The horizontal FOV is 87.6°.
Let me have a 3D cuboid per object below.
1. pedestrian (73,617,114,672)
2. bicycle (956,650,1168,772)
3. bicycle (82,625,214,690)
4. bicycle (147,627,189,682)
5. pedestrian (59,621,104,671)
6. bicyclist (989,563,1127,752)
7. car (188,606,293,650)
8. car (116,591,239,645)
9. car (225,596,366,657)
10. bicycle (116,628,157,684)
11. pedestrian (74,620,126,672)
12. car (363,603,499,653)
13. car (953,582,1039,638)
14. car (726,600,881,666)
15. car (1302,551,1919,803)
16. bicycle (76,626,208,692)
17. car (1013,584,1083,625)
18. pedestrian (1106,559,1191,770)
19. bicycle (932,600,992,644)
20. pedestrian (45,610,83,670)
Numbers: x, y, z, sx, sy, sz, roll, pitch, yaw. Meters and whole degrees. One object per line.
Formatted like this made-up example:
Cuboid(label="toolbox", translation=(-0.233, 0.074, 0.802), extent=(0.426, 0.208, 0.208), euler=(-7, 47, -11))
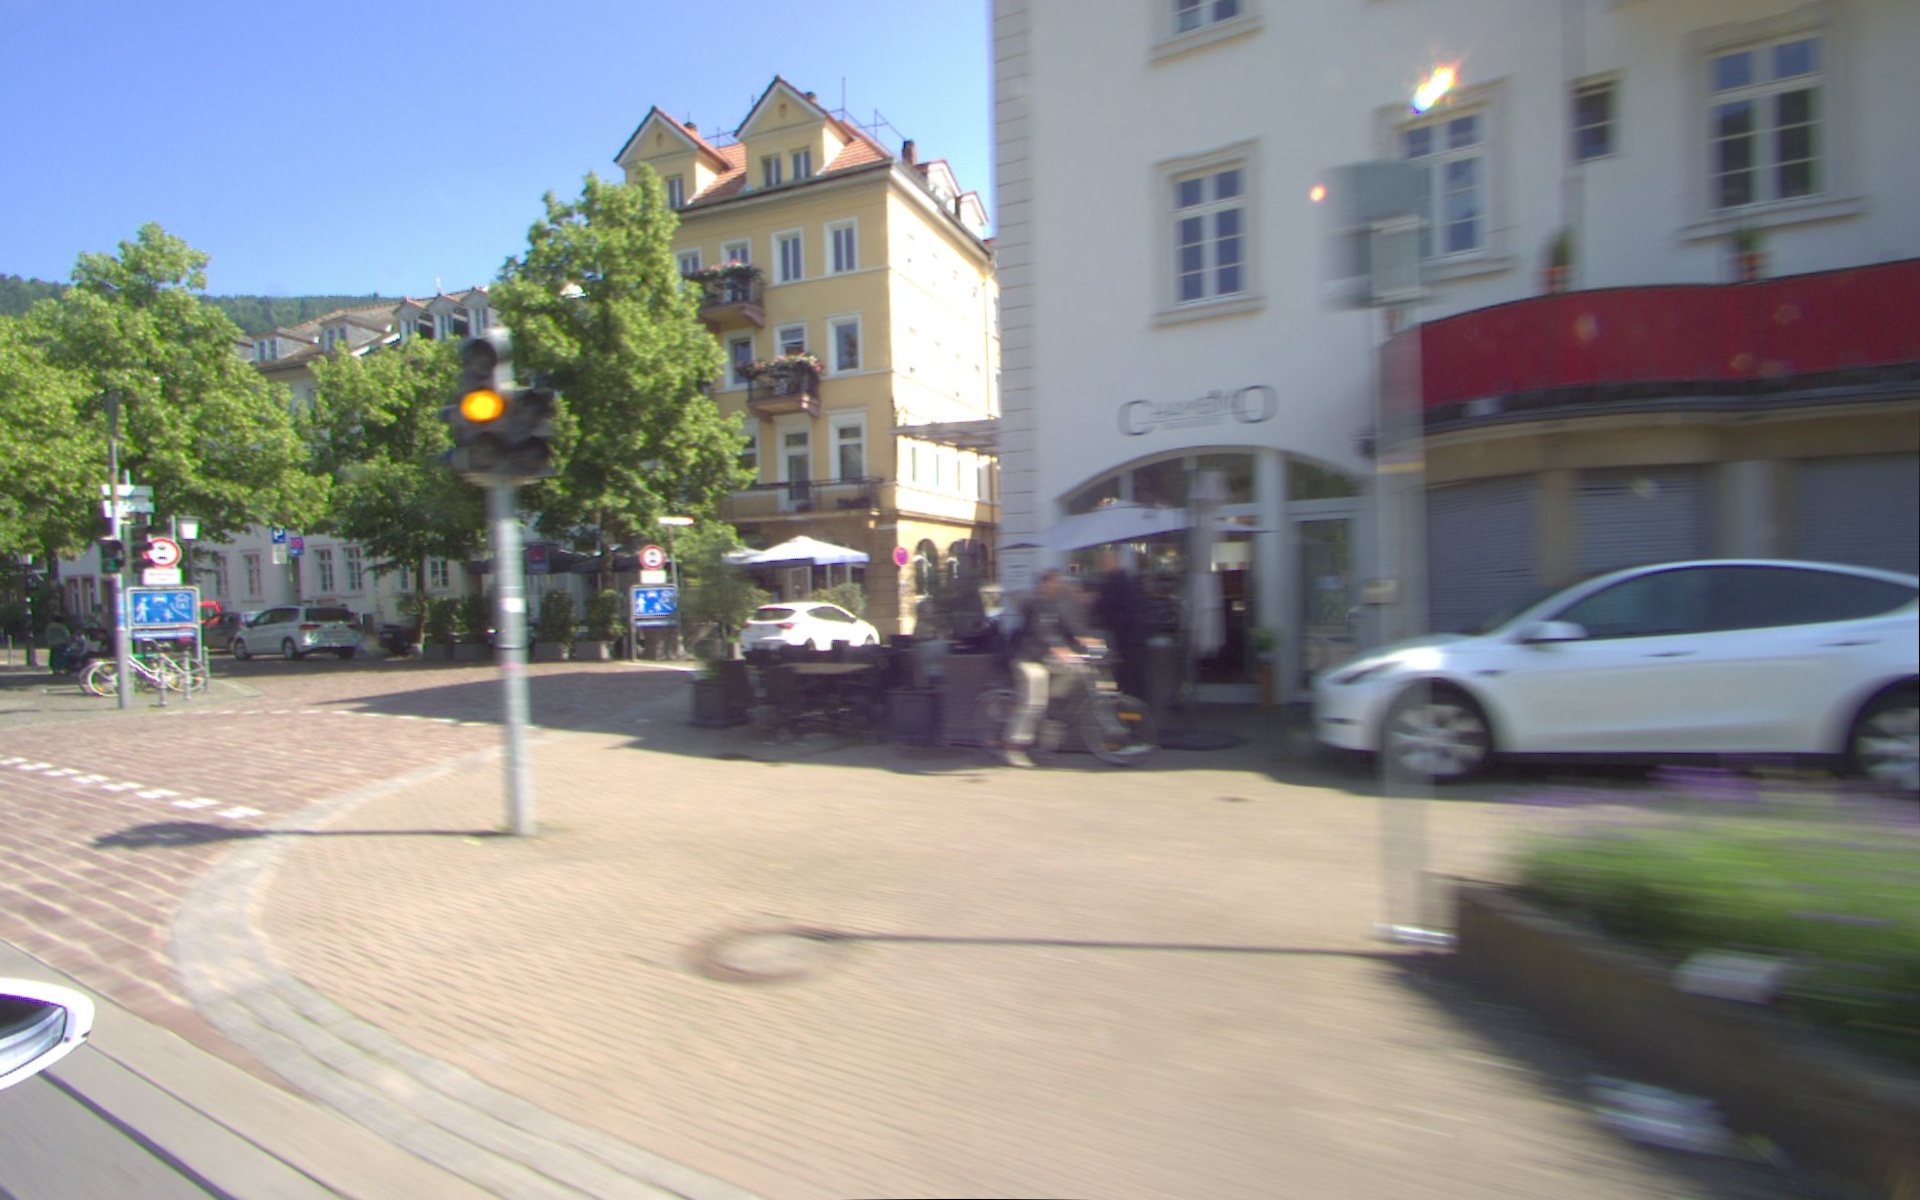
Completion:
Cuboid(label="pedestrian", translation=(-22.513, 1.153, 26.018), extent=(0.532, 1.400, 0.626), euler=(-1, 0, 22))
Cuboid(label="bicycle", translation=(0.924, 0.966, 8.989), extent=(1.751, 0.977, 0.750), euler=(-2, 1, 19))
Cuboid(label="bicycle", translation=(-16.050, 1.108, 19.834), extent=(0.516, 1.214, 1.988), euler=(0, 0, 42))
Cuboid(label="bicycle", translation=(-16.971, 1.146, 21.436), extent=(0.589, 1.081, 2.048), euler=(-4, 1, -40))
Cuboid(label="pedestrian", translation=(-23.088, 1.195, 26.331), extent=(0.741, 1.298, 0.626), euler=(-1, 0, 23))
Cuboid(label="bicyclist", translation=(0.893, 0.495, 8.998), extent=(1.069, 1.605, 0.767), euler=(-1, 2, 17))
Cuboid(label="car", translation=(-25.885, 0.996, 36.020), extent=(3.418, 1.451, 1.672), euler=(-2, 1, 28))
Cuboid(label="car", translation=(-30.058, 0.675, 38.452), extent=(4.562, 1.928, 1.991), euler=(-1, 2, 28))
Cuboid(label="car", translation=(-20.365, 0.781, 30.640), extent=(4.499, 1.751, 1.766), euler=(-1, 0, 30))
Cuboid(label="bicycle", translation=(-17.411, 1.148, 21.159), extent=(0.589, 1.082, 2.048), euler=(-4, 2, -40))
Cuboid(label="pedestrian", translation=(-21.911, 1.161, 25.514), extent=(0.751, 1.269, 0.693), euler=(-1, 2, 23))
Cuboid(label="car", translation=(-17.578, 0.914, 33.458), extent=(1.597, 1.451, 3.736), euler=(-1, 1, 28))
Cuboid(label="car", translation=(1.305, 0.293, 34.294), extent=(1.818, 1.618, 3.990), euler=(3, 3, 19))
Cuboid(label="car", translation=(-3.781, 0.748, 24.853), extent=(1.804, 1.475, 3.983), euler=(1, 1, 28))
Cuboid(label="car", translation=(5.150, 0.508, 7.741), extent=(4.647, 1.598, 1.878), euler=(-1, 1, 22))
Cuboid(label="bicycle", translation=(-16.431, 1.154, 20.163), extent=(0.516, 1.214, 2.001), euler=(0, 0, 42))
Cuboid(label="car", translation=(3.541, 0.127, 39.710), extent=(1.818, 1.388, 3.825), euler=(3, 3, 19))
Cuboid(label="pedestrian", translation=(1.784, 0.576, 9.422), extent=(0.599, 1.884, 0.761), euler=(-1, 4, 22))
Cuboid(label="bicycle", translation=(0.069, 0.669, 30.905), extent=(1.734, 1.297, 0.656), euler=(0, 3, 20))
Cuboid(label="pedestrian", translation=(-23.017, 1.024, 25.730), extent=(0.679, 1.537, 0.459), euler=(-1, 1, 23))
